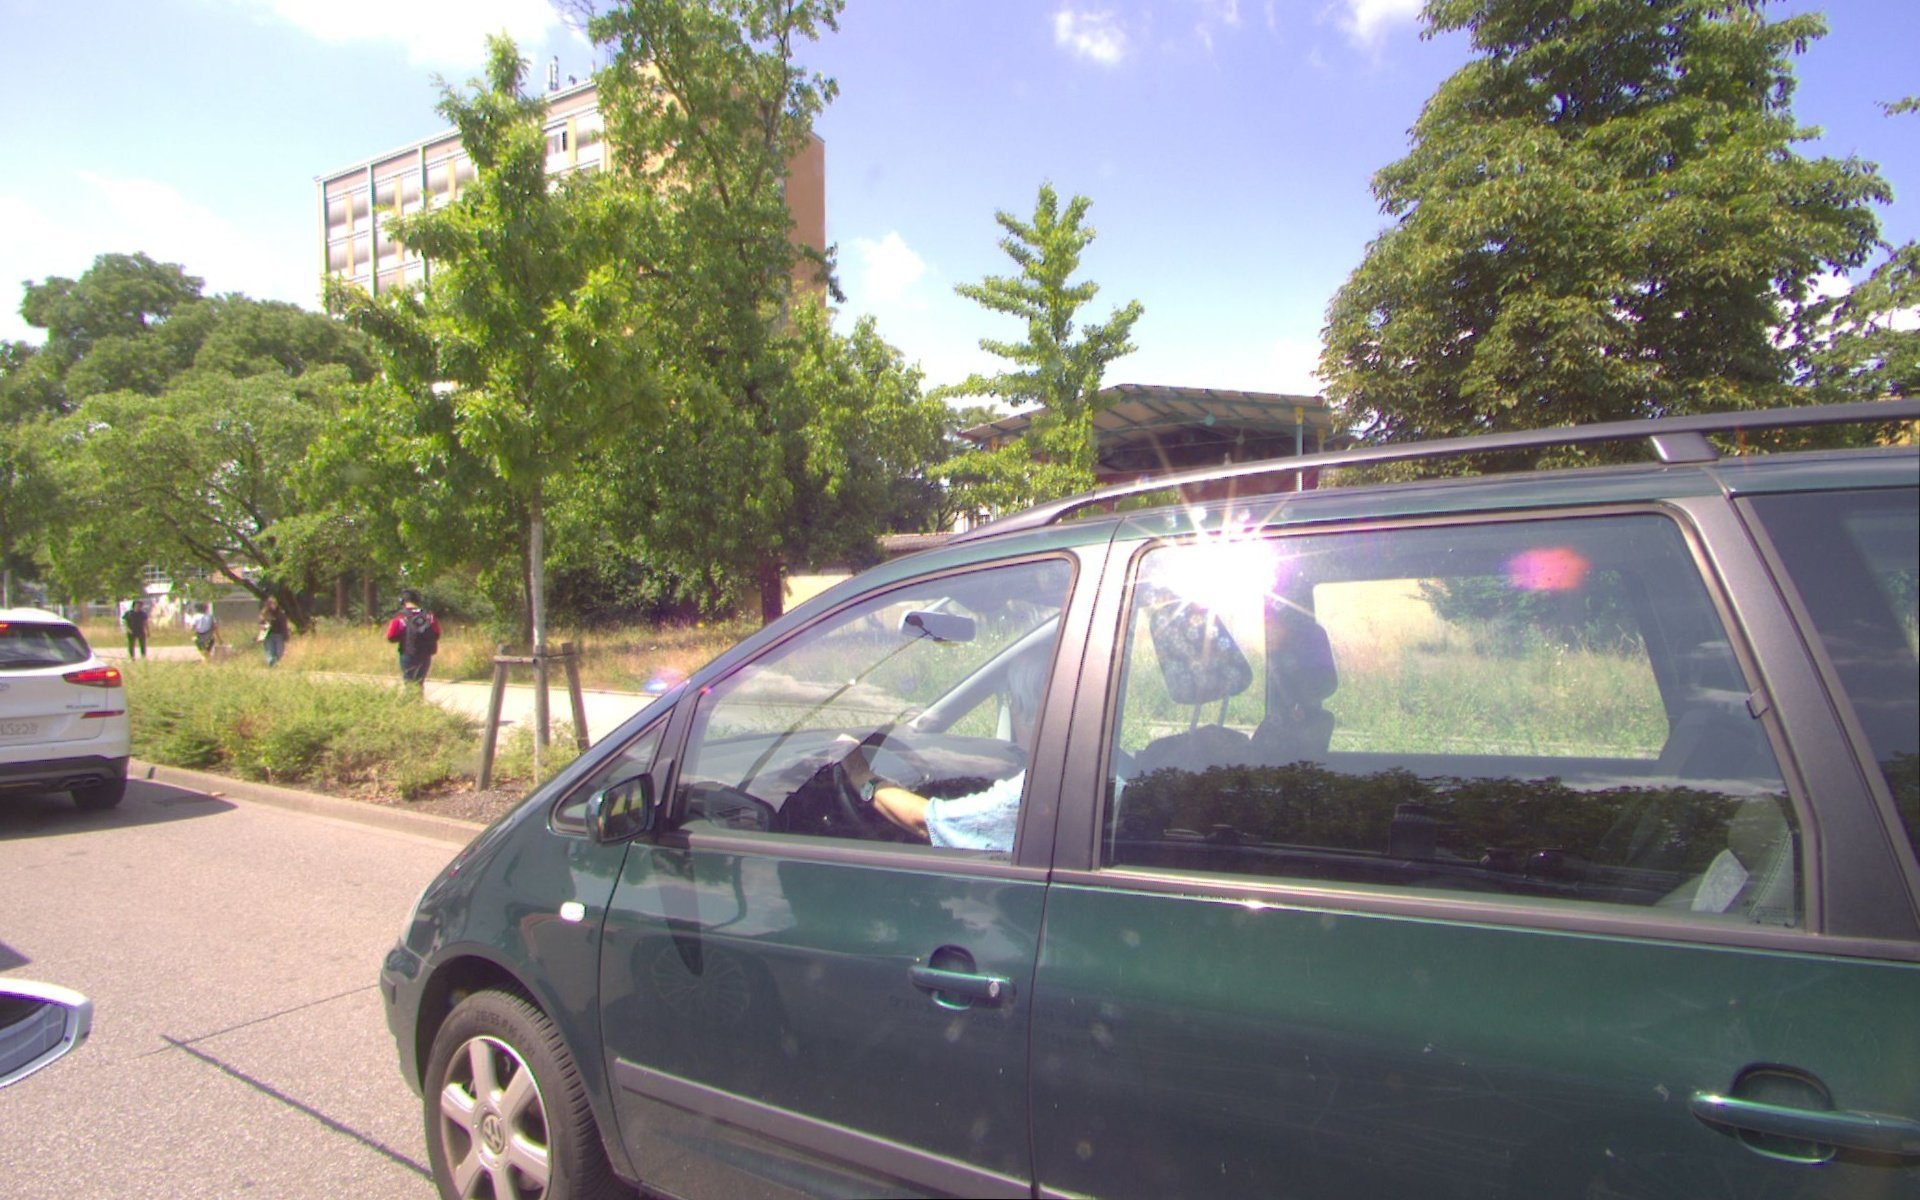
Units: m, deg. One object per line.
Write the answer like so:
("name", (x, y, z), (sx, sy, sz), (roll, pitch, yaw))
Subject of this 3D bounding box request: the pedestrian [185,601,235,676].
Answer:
("pedestrian", (-16.650, 0.834, 22.239), (0.638, 1.618, 0.665), (0, 2, 32))

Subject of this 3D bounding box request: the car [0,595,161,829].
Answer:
("car", (-8.541, 0.807, 8.296), (4.174, 1.663, 1.876), (0, 0, 34))

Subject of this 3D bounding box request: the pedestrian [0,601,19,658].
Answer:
("pedestrian", (-30.536, 0.940, 31.858), (0.600, 1.770, 0.666), (0, 2, 27))

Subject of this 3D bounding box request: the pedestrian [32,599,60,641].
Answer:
("pedestrian", (-39.755, 0.865, 43.561), (0.602, 1.776, 0.746), (1, 2, 39))

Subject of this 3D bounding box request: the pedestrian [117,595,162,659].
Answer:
("pedestrian", (-23.264, 0.747, 28.402), (0.657, 1.774, 0.748), (0, 2, 29))

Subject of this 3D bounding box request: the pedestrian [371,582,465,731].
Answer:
("pedestrian", (-6.708, 0.667, 12.406), (0.836, 1.774, 0.665), (0, 2, 32))

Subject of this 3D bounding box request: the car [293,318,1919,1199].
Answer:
("car", (0.513, 0.637, 2.309), (4.385, 1.745, 1.791), (0, -2, 33))

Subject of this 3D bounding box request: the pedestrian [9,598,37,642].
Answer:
("pedestrian", (-39.951, 0.853, 42.714), (0.602, 1.827, 0.746), (1, 2, 39))

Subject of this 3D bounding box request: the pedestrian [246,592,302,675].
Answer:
("pedestrian", (-14.987, 0.714, 21.881), (0.865, 1.774, 0.665), (0, 2, 32))
